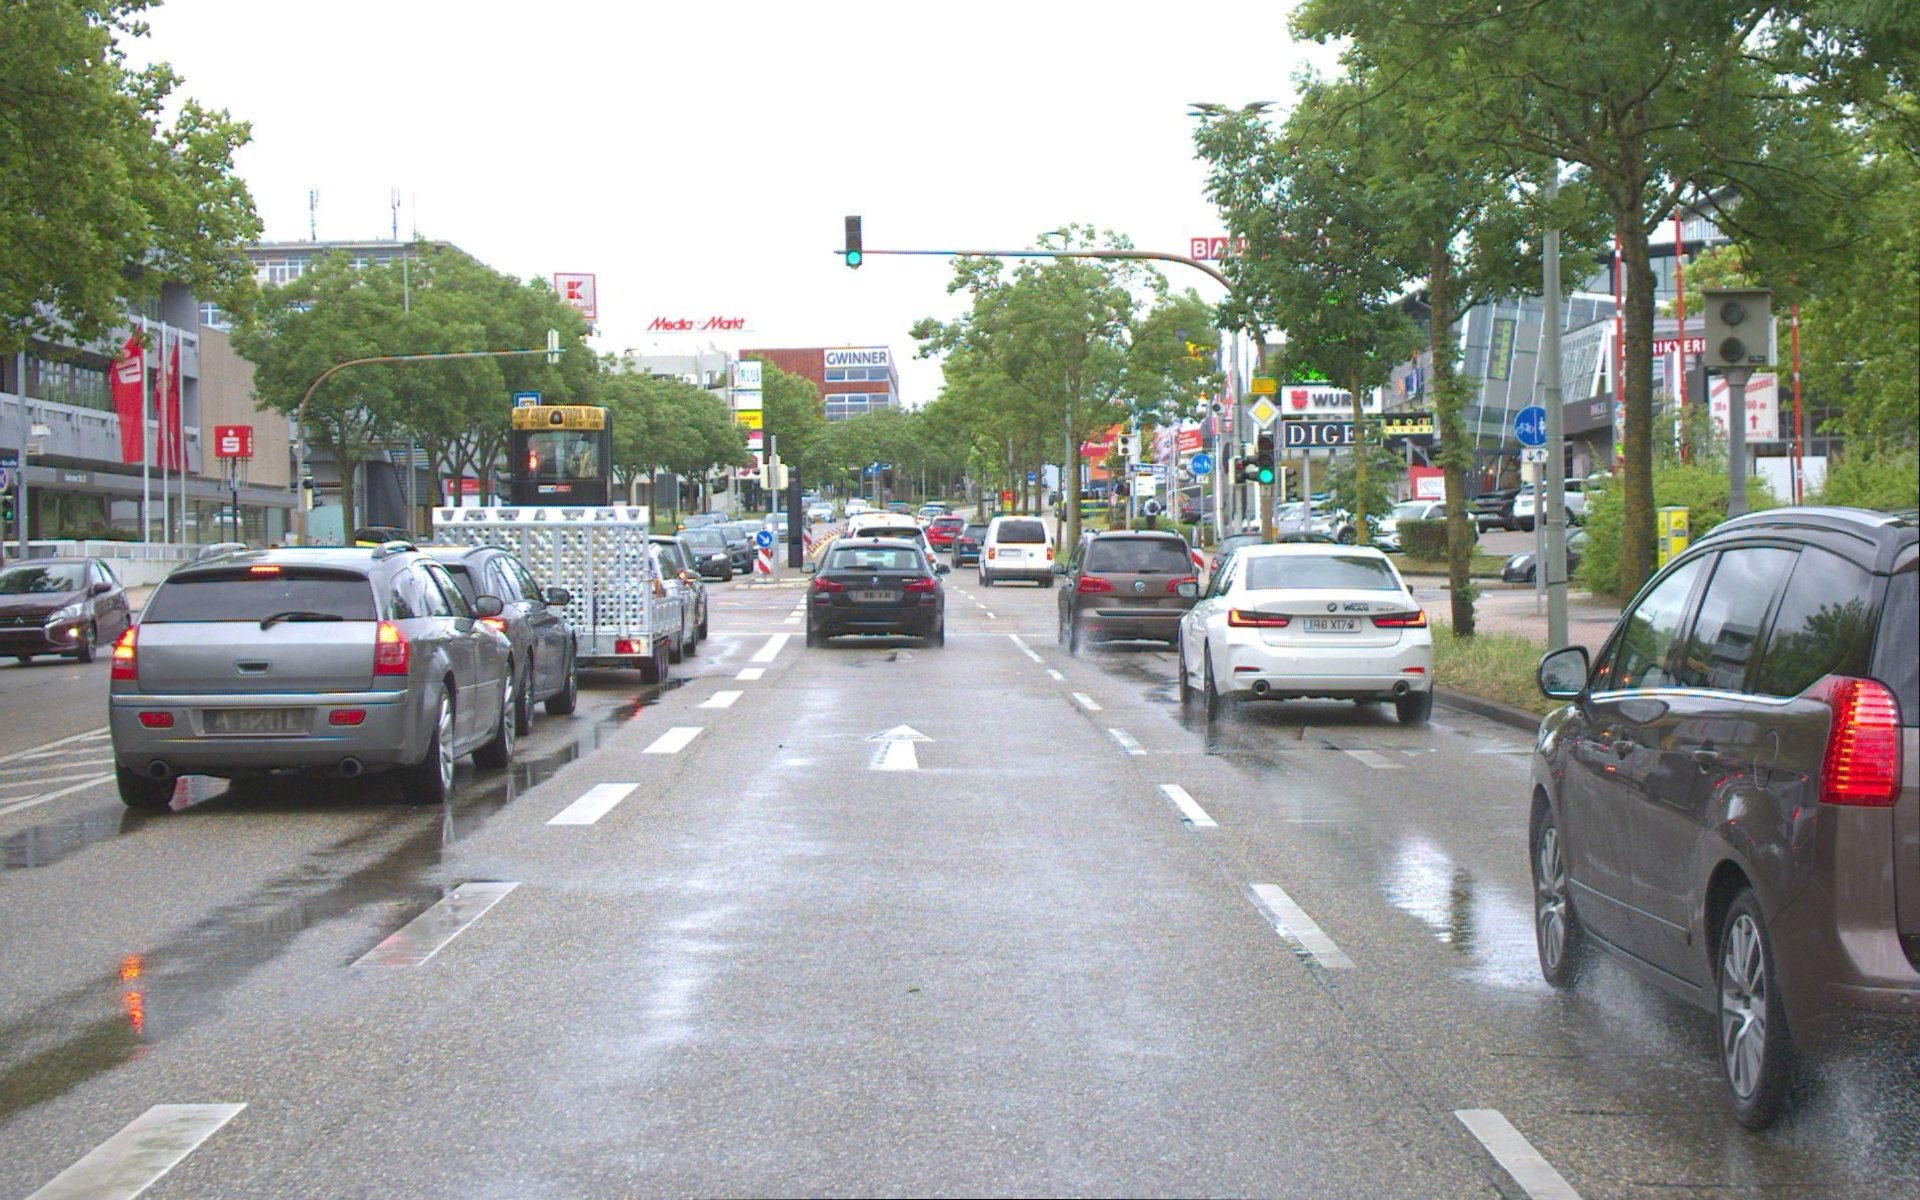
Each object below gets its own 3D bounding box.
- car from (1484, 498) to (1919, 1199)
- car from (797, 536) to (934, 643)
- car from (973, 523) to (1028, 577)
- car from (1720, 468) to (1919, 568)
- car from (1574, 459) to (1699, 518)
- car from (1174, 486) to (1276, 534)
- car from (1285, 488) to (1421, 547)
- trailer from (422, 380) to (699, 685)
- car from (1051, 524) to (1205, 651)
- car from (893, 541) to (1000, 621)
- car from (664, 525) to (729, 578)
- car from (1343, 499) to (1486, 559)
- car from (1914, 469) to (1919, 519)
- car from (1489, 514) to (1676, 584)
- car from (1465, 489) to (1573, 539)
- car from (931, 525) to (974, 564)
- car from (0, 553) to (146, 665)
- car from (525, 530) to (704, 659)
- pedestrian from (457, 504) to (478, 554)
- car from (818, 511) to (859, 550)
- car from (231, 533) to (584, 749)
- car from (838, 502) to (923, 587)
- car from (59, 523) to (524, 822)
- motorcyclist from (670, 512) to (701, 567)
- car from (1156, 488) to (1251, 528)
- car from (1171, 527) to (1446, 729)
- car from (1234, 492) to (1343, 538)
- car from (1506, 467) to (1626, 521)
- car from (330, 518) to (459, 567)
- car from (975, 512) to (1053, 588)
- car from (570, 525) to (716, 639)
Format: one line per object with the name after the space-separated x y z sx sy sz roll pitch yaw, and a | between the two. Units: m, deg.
2.749 0.527 9.905 1.726 1.619 4.471 -1 1 -1 | car
-1.279 -0.175 46.917 1.781 1.393 4.000 0 1 -1 | car
1.263 -1.586 109.519 1.685 1.678 3.403 1 0 0 | car
13.769 -1.265 52.440 3.987 1.437 1.655 -1 1 2 | car
21.168 -3.483 107.535 4.143 1.765 1.737 -2 2 -44 | car
11.033 -3.754 143.500 4.111 1.898 1.800 -1 2 1 | car
12.395 -2.597 108.274 4.016 1.657 1.982 -5 3 -40 | car
-4.063 -0.705 35.931 2.372 2.887 5.546 -1 1 -2 | trailer
2.210 -0.207 46.198 1.801 1.581 4.451 1 1 0 | car
-0.285 -0.374 63.851 1.682 1.372 4.001 -1 1 -4 | car
-7.193 -1.348 93.915 1.682 1.372 4.001 -1 1 -4 | car
12.749 -2.006 96.286 1.930 1.571 4.278 0 2 41 | car
30.221 -3.157 100.564 1.733 1.475 4.152 -2 2 -41 | car
14.487 -1.178 80.163 3.979 1.484 1.818 -2 0 0 | car
20.141 -3.110 123.888 3.964 1.714 1.633 -2 2 -40 | car
-0.307 -2.224 138.693 1.695 1.438 3.989 -1 0 0 | car
-12.768 0.099 48.507 1.709 1.460 4.086 -2 1 -2 | car
-4.182 -0.110 42.271 1.765 1.453 4.781 -1 1 -1 | car
-22.130 -3.204 154.471 0.858 2.210 0.846 -1 2 -4 | pedestrian
-6.393 -3.646 181.702 1.993 2.007 4.000 1 0 0 | car
-4.254 0.252 27.208 1.993 1.424 4.554 -2 2 0 | car
-1.930 -1.337 84.331 1.993 2.007 4.000 1 0 -1 | car
-3.926 0.346 21.053 1.907 1.573 4.881 -1 1 -1 | car
-7.865 -1.727 98.512 0.806 1.553 1.268 -1 2 -3 | motorcyclist
10.705 -4.050 150.805 4.111 1.697 1.799 0 2 5 | car
2.853 0.172 29.059 1.801 1.539 4.620 1 1 0 | car
11.640 -3.014 121.713 3.589 1.530 1.796 -3 2 -40 | car
20.680 -3.607 117.204 4.142 1.765 1.737 -2 2 -40 | car
-18.894 -1.915 114.887 3.994 1.546 1.896 0 2 34 | car
1.356 -1.293 87.808 1.781 1.860 4.000 -1 1 -1 | car
-4.399 -0.281 48.222 1.713 1.484 4.078 -1 1 -1 | car
